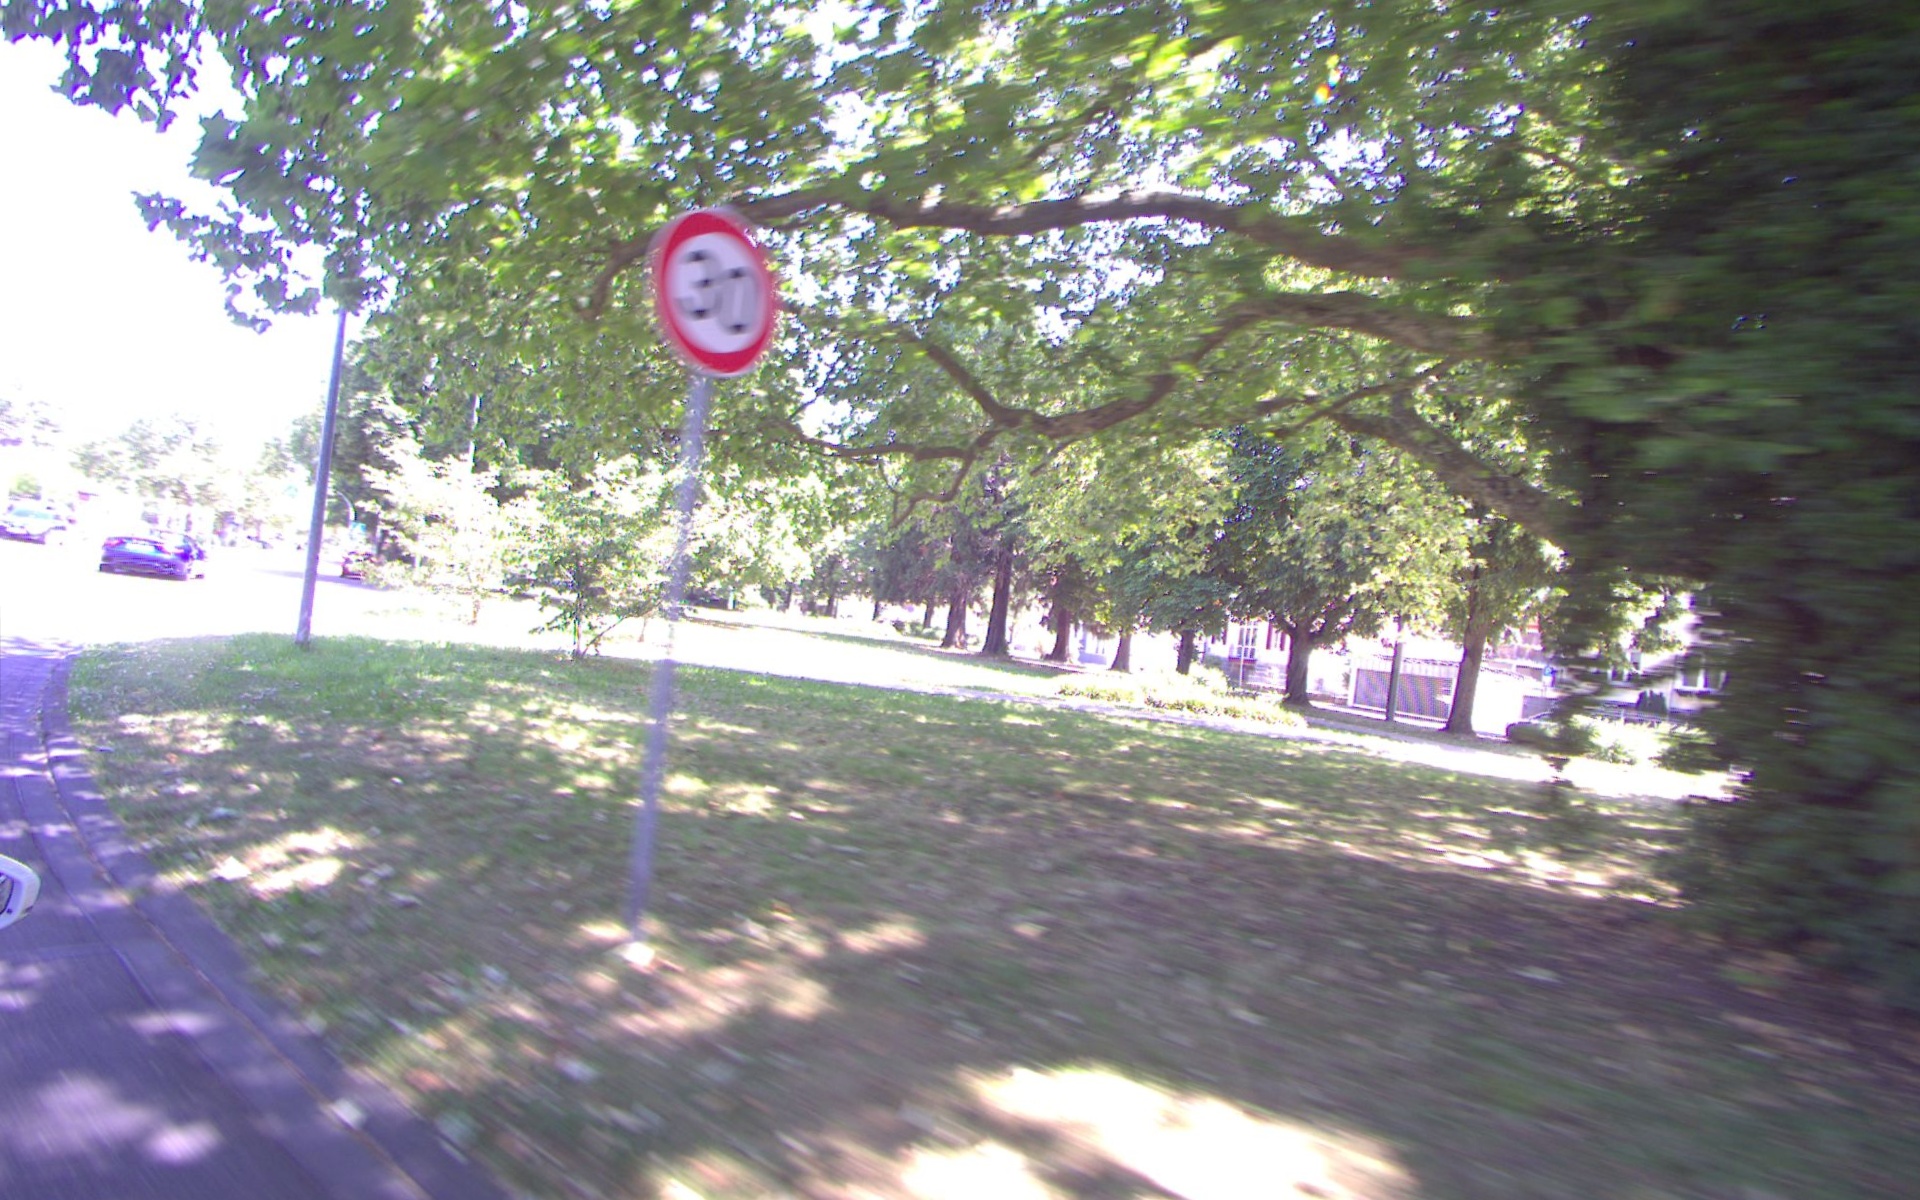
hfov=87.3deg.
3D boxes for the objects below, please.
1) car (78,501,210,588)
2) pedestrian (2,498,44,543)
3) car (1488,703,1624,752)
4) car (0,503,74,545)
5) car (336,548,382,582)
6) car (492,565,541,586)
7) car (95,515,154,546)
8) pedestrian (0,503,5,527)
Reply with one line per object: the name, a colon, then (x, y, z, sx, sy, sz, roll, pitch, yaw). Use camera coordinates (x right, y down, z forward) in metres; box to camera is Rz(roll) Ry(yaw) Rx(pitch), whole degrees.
car: (-22.063, -1.466, 27.376, 2.111, 1.869, 4.015, 9, -2, -32)
pedestrian: (-42.872, -3.620, 46.055, 0.789, 1.848, 1.140, 6, -2, -14)
car: (23.767, 5.050, 40.338, 1.647, 1.302, 4.698, 7, -2, -19)
car: (-40.102, -3.260, 43.512, 1.707, 1.496, 4.747, 7, -2, -31)
car: (-31.105, -1.811, 52.028, 1.708, 1.496, 3.673, 7, -2, -34)
car: (-44.128, -2.462, 100.075, 4.078, 1.483, 1.983, 8, -1, -32)
car: (-46.339, -3.819, 55.879, 1.799, 1.463, 4.126, 4, 1, -30)
pedestrian: (-68.571, -6.080, 71.420, 0.751, 1.678, 0.719, 6, -2, -14)
